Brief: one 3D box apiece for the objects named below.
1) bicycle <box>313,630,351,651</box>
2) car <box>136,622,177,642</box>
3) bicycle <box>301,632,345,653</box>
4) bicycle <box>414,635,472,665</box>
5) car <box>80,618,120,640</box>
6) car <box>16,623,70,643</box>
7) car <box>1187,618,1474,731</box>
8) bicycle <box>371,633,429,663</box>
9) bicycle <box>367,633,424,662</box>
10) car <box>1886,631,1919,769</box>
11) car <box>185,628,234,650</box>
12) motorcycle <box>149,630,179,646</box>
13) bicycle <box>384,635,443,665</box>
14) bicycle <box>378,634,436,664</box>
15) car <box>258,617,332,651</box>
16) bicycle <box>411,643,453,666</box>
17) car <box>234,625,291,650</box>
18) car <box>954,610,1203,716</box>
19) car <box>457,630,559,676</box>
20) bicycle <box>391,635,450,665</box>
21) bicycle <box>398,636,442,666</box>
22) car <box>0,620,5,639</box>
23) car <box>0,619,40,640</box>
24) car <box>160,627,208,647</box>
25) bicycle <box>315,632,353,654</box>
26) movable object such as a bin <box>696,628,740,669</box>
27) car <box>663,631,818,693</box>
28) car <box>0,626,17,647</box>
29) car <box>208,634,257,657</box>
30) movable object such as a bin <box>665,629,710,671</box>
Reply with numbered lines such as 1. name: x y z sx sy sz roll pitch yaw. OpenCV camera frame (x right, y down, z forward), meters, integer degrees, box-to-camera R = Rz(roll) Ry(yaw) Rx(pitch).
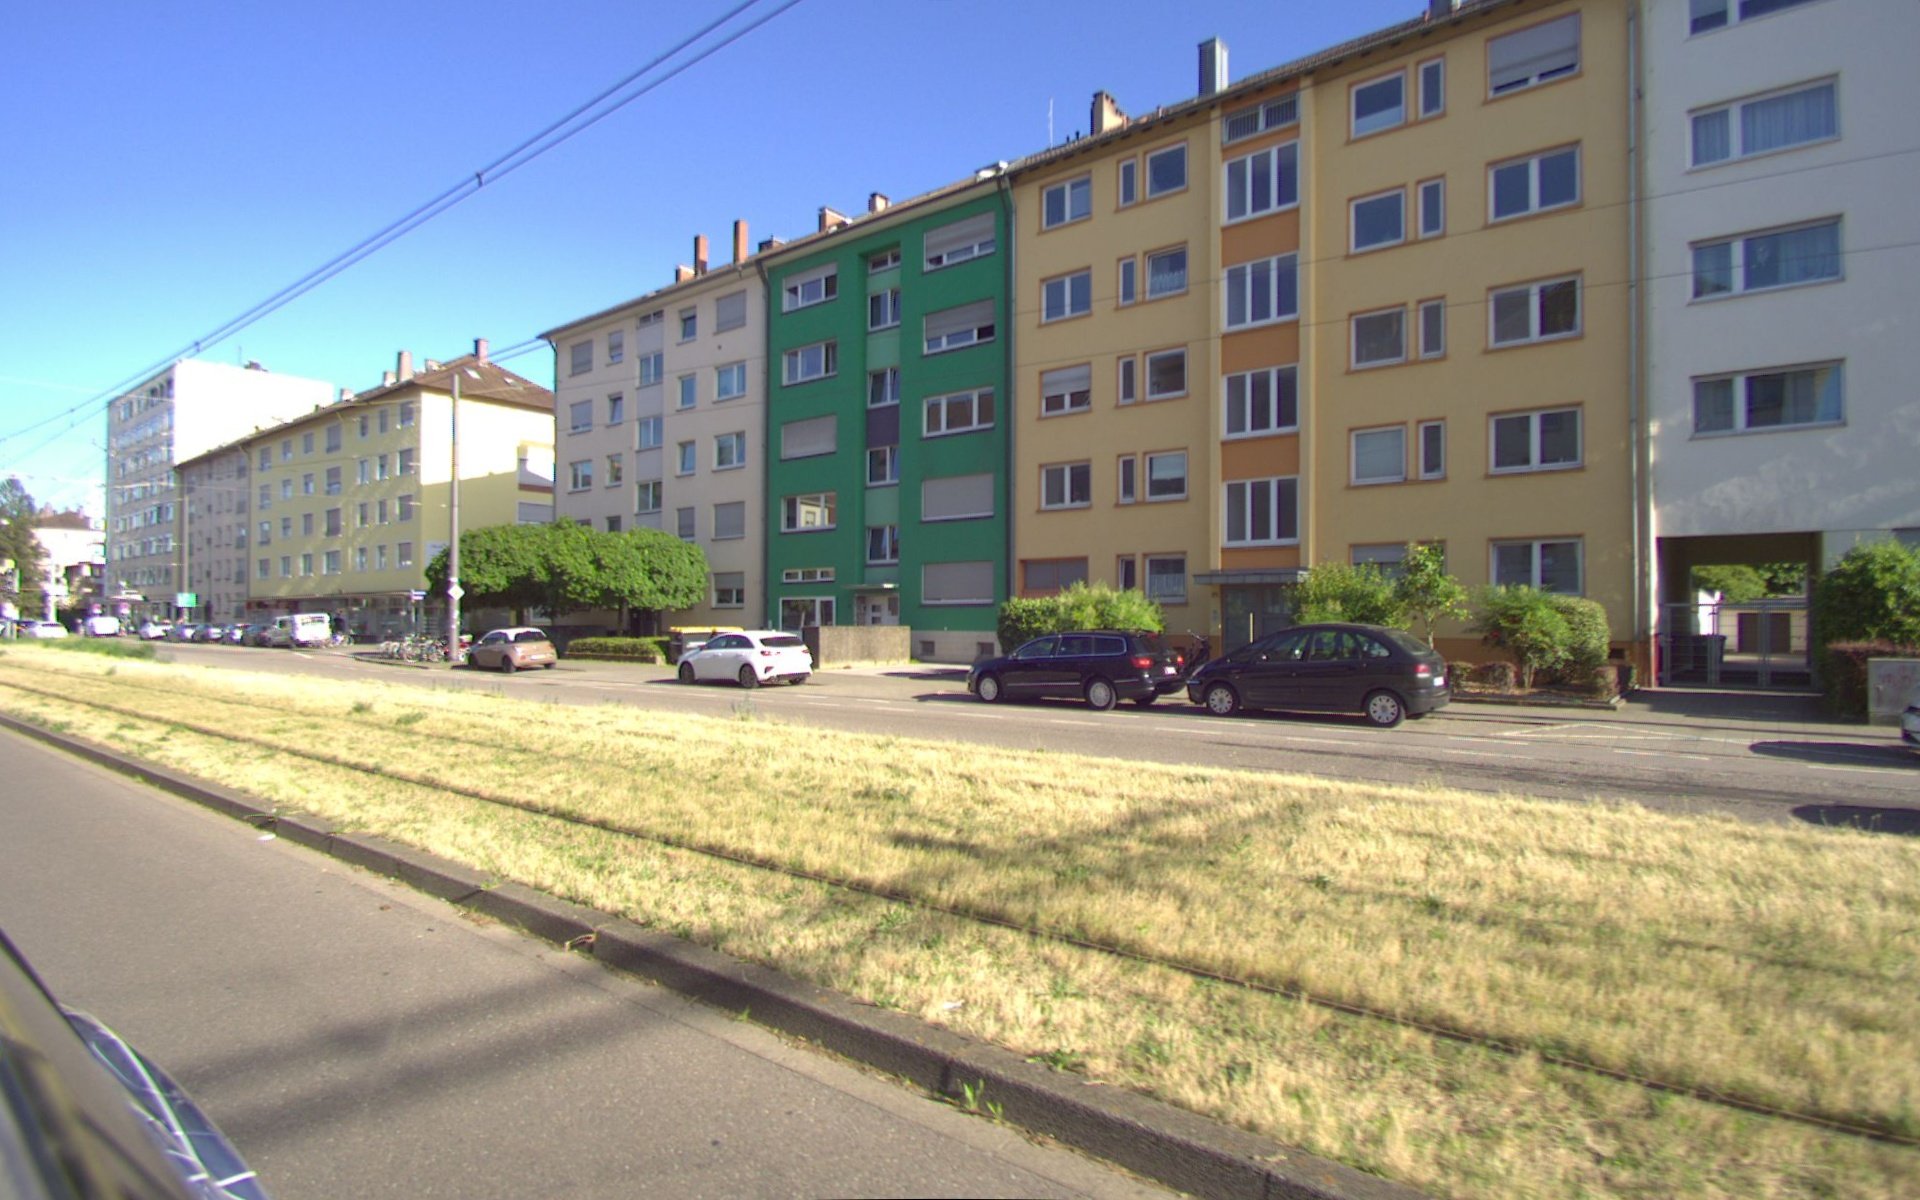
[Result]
1. bicycle: -36.038 2.306 58.053 0.390 1.114 1.801 -1 0 39
2. car: -64.463 2.563 81.161 4.195 1.497 1.741 -1 0 39
3. bicycle: -37.115 2.469 58.992 0.472 1.114 2.077 -1 0 39
4. bicycle: -20.604 1.994 40.364 2.019 1.101 0.617 -2 0 -24
5. car: -81.096 2.699 95.414 4.662 1.912 1.975 -1 0 37
6. car: -66.746 2.406 73.641 4.402 1.395 1.818 -1 -3 34
7. car: 6.202 1.151 17.168 4.147 1.620 1.974 -1 0 39
8. bicycle: -23.447 2.002 42.408 0.616 1.101 2.024 -1 0 45
9. bicycle: -23.898 2.017 42.882 0.616 1.101 2.024 -1 0 45
10. car: 13.297 1.129 10.903 4.696 1.503 1.874 -1 0 38
11. car: -53.554 2.780 72.205 4.410 1.431 1.765 -1 0 39
12. motorcycle: -61.545 2.904 78.282 0.481 1.147 2.108 -1 0 6
13. bicycle: -22.362 2.046 41.442 0.616 1.101 2.024 -1 0 45
14. bicycle: -22.916 2.020 41.955 0.616 1.101 2.024 -1 0 45
15. car: -40.509 2.044 61.612 5.490 1.964 1.976 -1 0 36
16. bicycle: -20.466 2.099 39.215 2.045 0.872 0.374 -1 0 28
17. car: -44.847 2.365 65.020 4.591 1.485 1.765 -1 0 39
18. car: 2.283 1.160 20.239 4.605 1.851 1.974 -1 0 40
19. car: -15.742 1.805 35.189 3.728 1.453 1.620 -1 0 37
20. bicycle: -21.846 2.018 41.003 0.616 1.101 2.024 -1 0 45
21. bicycle: -20.655 1.944 38.705 1.927 1.101 0.506 -1 0 28
22. car: -83.376 2.461 86.469 4.234 1.562 1.839 -1 -4 37
23. car: -72.205 2.279 77.349 4.404 1.540 1.768 -1 -3 34
24. car: -57.984 2.753 75.617 4.408 1.395 1.766 -1 0 37
25. bicycle: -35.693 2.442 57.763 0.390 1.114 1.801 -1 0 39
26. movable object such as a bin: -8.711 1.720 36.449 1.039 1.378 1.135 0 1 42
27. car: -5.891 1.589 26.926 4.372 1.465 1.711 -1 -1 40
28. car: -77.805 2.944 81.738 4.603 1.593 1.765 -1 -3 39
29. car: -49.461 3.088 68.779 3.764 1.395 1.765 -1 0 39
30. movable object such as a bin: -9.548 1.747 35.476 1.039 1.378 1.135 0 1 42
